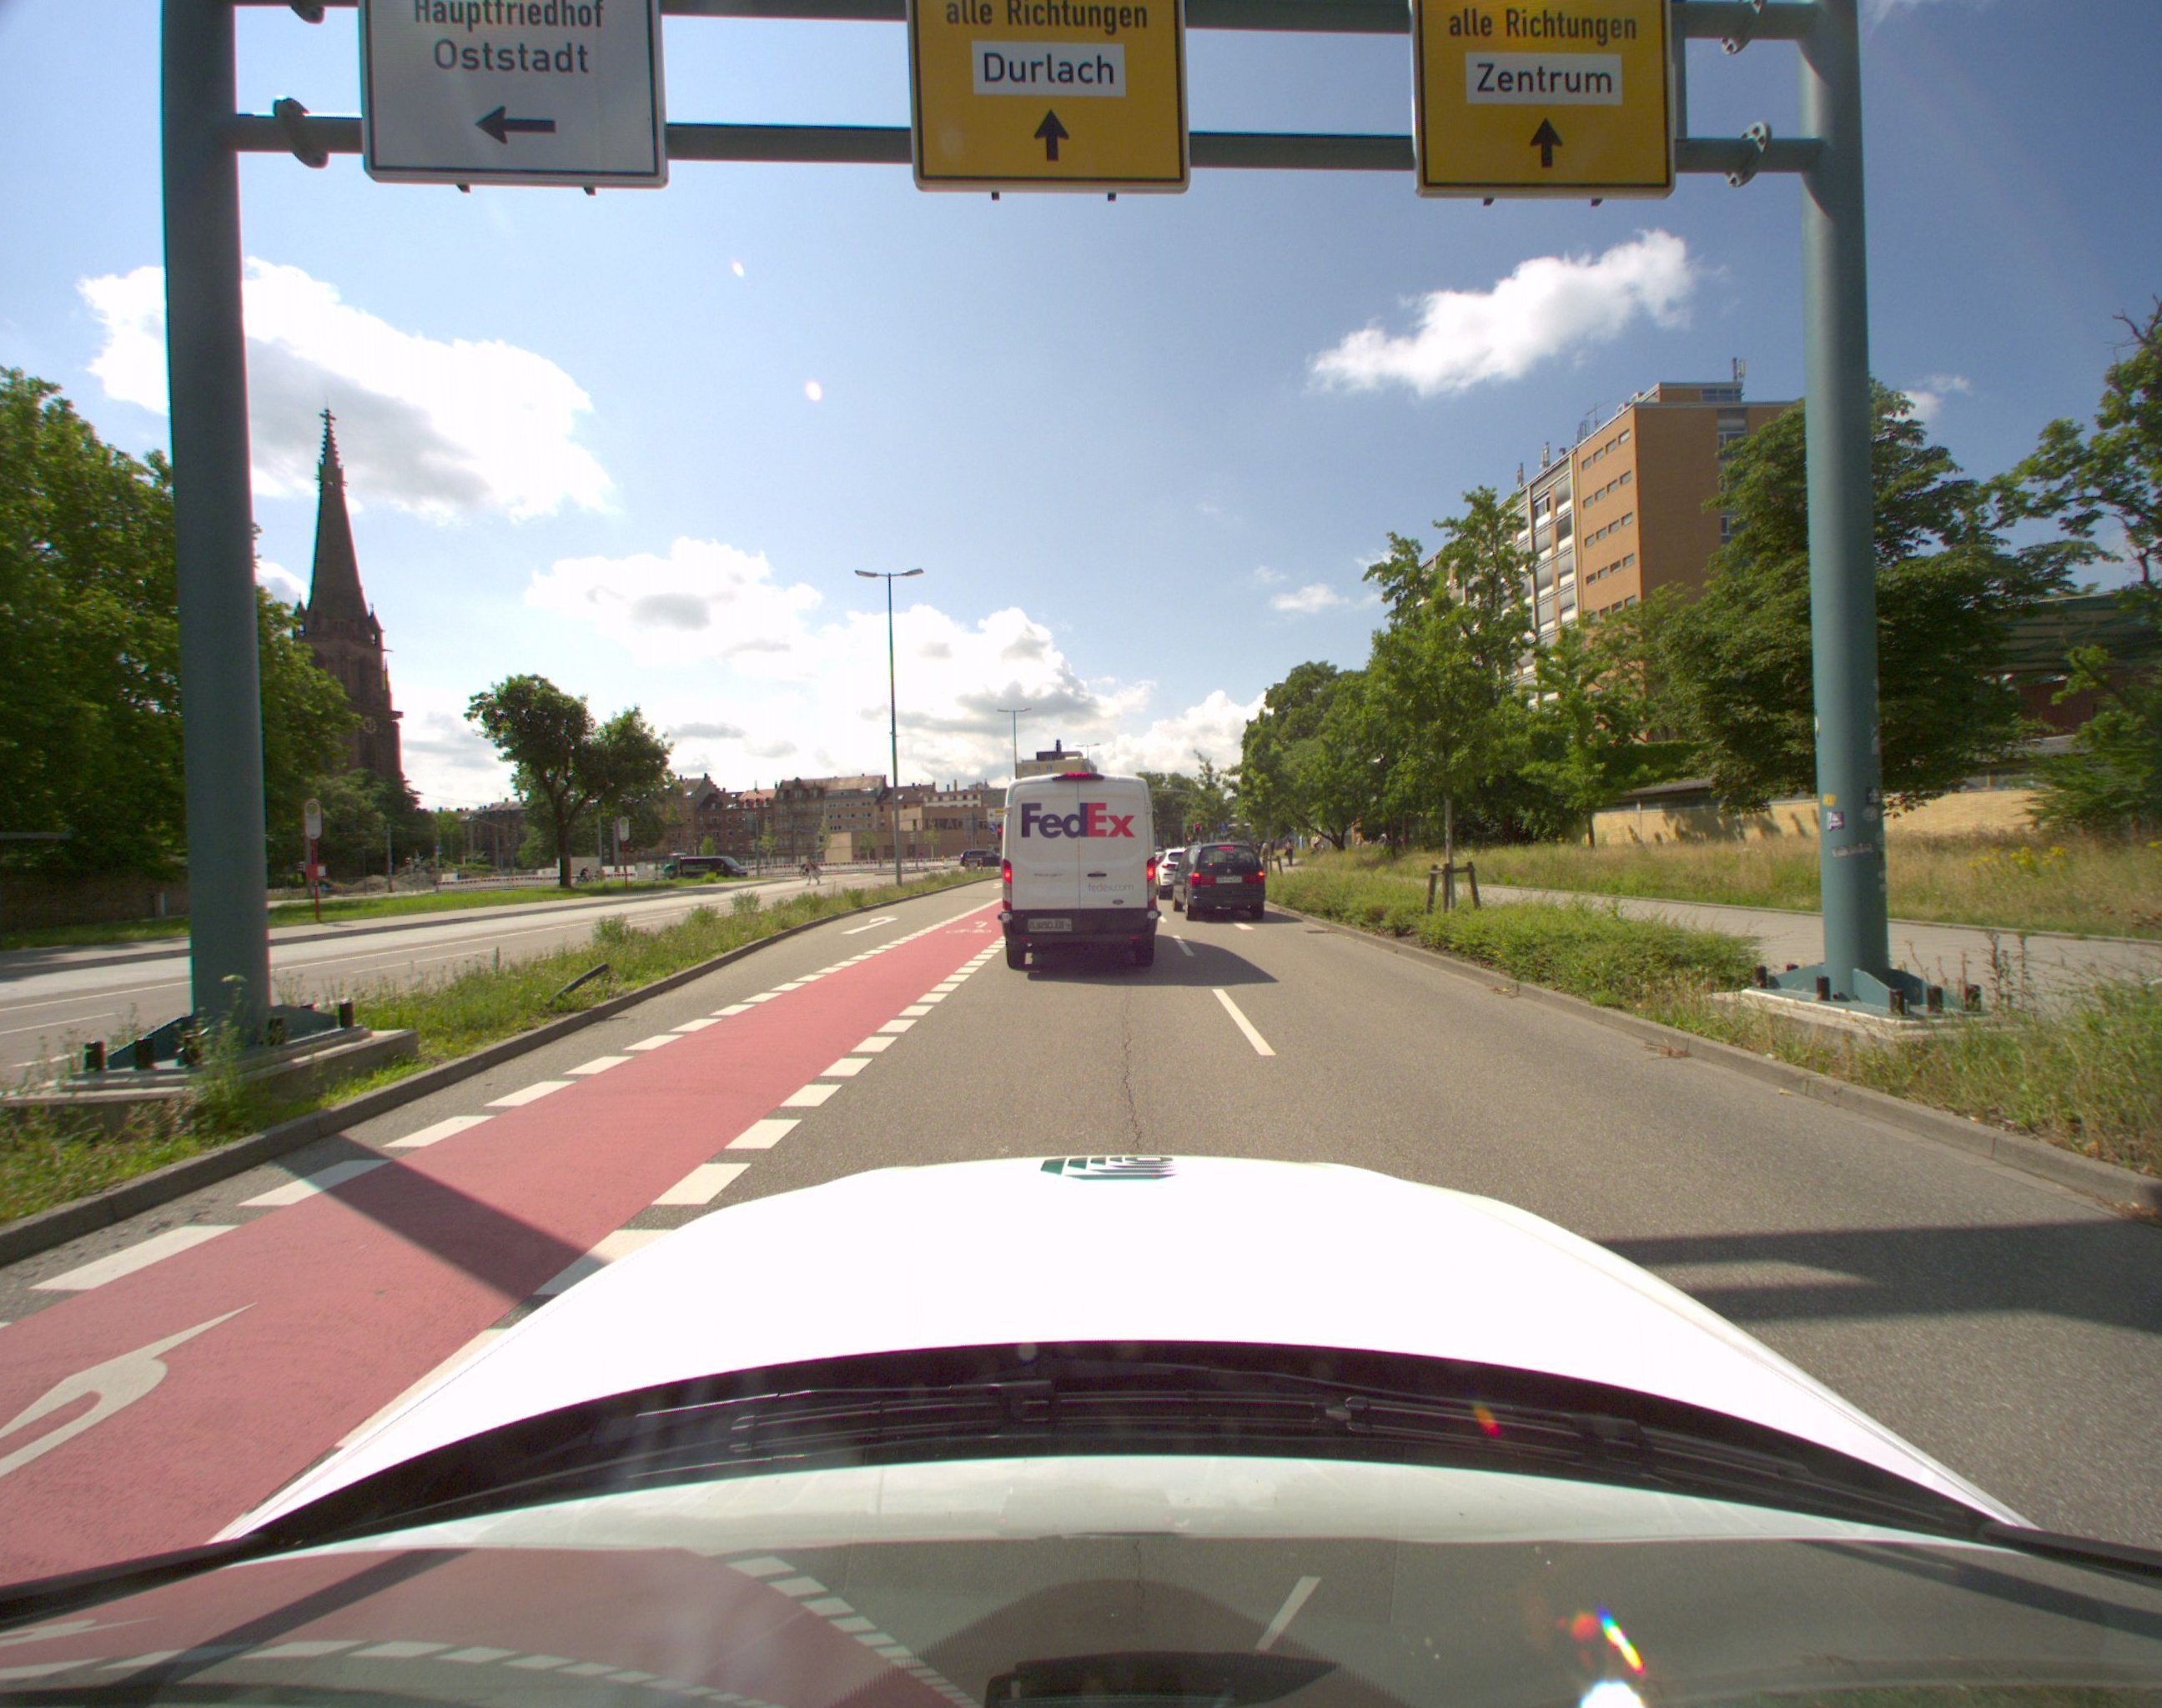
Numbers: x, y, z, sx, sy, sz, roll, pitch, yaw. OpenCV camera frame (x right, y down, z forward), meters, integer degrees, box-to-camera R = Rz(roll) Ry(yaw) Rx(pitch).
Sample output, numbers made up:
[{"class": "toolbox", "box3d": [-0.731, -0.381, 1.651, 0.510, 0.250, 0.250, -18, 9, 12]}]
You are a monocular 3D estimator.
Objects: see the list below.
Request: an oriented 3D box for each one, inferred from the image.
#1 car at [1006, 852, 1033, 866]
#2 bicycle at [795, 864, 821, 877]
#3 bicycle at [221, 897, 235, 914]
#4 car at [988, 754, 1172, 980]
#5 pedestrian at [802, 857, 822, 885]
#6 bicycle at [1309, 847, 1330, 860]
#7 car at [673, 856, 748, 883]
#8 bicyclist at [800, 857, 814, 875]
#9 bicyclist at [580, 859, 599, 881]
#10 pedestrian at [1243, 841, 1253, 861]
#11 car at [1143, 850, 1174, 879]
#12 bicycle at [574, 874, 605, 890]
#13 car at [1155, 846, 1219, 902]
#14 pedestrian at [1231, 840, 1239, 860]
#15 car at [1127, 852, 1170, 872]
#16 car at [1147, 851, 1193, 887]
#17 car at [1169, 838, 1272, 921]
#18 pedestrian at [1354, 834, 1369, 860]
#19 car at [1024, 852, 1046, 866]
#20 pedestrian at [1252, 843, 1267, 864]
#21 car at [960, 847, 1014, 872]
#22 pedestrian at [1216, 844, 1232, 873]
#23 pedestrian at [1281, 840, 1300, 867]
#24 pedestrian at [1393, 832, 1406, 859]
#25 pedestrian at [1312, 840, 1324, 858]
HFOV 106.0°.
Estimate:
[{"class": "car", "box3d": [-7.272, 0.607, 97.099, 1.886, 1.585, 4.017, -2, 0, 16]}, {"class": "bicycle", "box3d": [-22.990, 1.398, 68.544, 1.918, 1.030, 0.547, -2, 0, -6]}, {"class": "bicycle", "box3d": [-50.516, 3.030, 48.235, 1.644, 0.902, 0.549, -2, 0, 43]}, {"class": "car", "box3d": [-0.133, 0.153, 12.588, 2.135, 2.652, 5.698, -1, 0, -3]}, {"class": "pedestrian", "box3d": [-15.350, 0.953, 46.431, 0.881, 1.560, 0.549, -2, 0, -42]}, {"class": "bicycle", "box3d": [19.298, -0.039, 66.000, 1.557, 0.955, 0.488, -2, 0, 20]}, {"class": "car", "box3d": [-29.667, 1.215, 65.350, 4.996, 1.879, 1.927, -2, 0, -3]}, {"class": "bicyclist", "box3d": [-23.032, 0.991, 68.520, 0.967, 1.474, 0.550, -2, 0, -6]}, {"class": "bicyclist", "box3d": [-41.008, 1.334, 67.958, 1.117, 1.844, 0.592, -2, 0, -6]}, {"class": "pedestrian", "box3d": [15.935, -0.300, 77.711, 0.579, 1.892, 0.671, -2, 0, -45]}, {"class": "car", "box3d": [4.071, 0.516, 43.313, 1.478, 1.428, 3.436, -2, 0, 3]}, {"class": "bicycle", "box3d": [-40.907, 2.336, 67.771, 2.062, 1.290, 0.603, -2, 0, -6]}, {"class": "car", "box3d": [3.499, 0.620, 27.447, 1.790, 1.687, 4.004, -2, 0, 3]}, {"class": "pedestrian", "box3d": [14.600, -0.364, 77.379, 0.572, 1.892, 0.679, -2, 0, 1]}, {"class": "car", "box3d": [6.754, 0.751, 80.788, 1.974, 1.794, 4.399, -3, -1, 41]}, {"class": "car", "box3d": [3.889, 0.618, 36.172, 1.790, 1.461, 3.842, -2, 0, 3]}, {"class": "car", "box3d": [3.238, 0.528, 19.668, 1.806, 1.734, 4.390, -1, 0, 1]}, {"class": "pedestrian", "box3d": [22.891, -0.575, 66.471, 0.740, 2.058, 0.843, -2, 0, -15]}, {"class": "car", "box3d": [-5.773, 0.590, 103.267, 1.867, 1.652, 4.011, -2, 0, 9]}, {"class": "pedestrian", "box3d": [12.202, -0.060, 55.680, 0.842, 1.389, 0.741, -2, 0, 1]}, {"class": "car", "box3d": [-8.305, 0.520, 71.880, 4.627, 2.014, 2.093, -2, -1, -9]}, {"class": "pedestrian", "box3d": [9.593, 0.293, 54.630, 0.947, 1.892, 0.774, -2, 0, 1]}, {"class": "pedestrian", "box3d": [12.533, -0.028, 48.750, 0.842, 1.539, 0.835, -2, 0, 1]}, {"class": "pedestrian", "box3d": [25.311, -0.674, 64.713, 0.837, 2.058, 0.745, -2, 0, 29]}, {"class": "pedestrian", "box3d": [19.225, -0.389, 66.027, 0.891, 1.472, 0.488, -2, 0, 20]}]
